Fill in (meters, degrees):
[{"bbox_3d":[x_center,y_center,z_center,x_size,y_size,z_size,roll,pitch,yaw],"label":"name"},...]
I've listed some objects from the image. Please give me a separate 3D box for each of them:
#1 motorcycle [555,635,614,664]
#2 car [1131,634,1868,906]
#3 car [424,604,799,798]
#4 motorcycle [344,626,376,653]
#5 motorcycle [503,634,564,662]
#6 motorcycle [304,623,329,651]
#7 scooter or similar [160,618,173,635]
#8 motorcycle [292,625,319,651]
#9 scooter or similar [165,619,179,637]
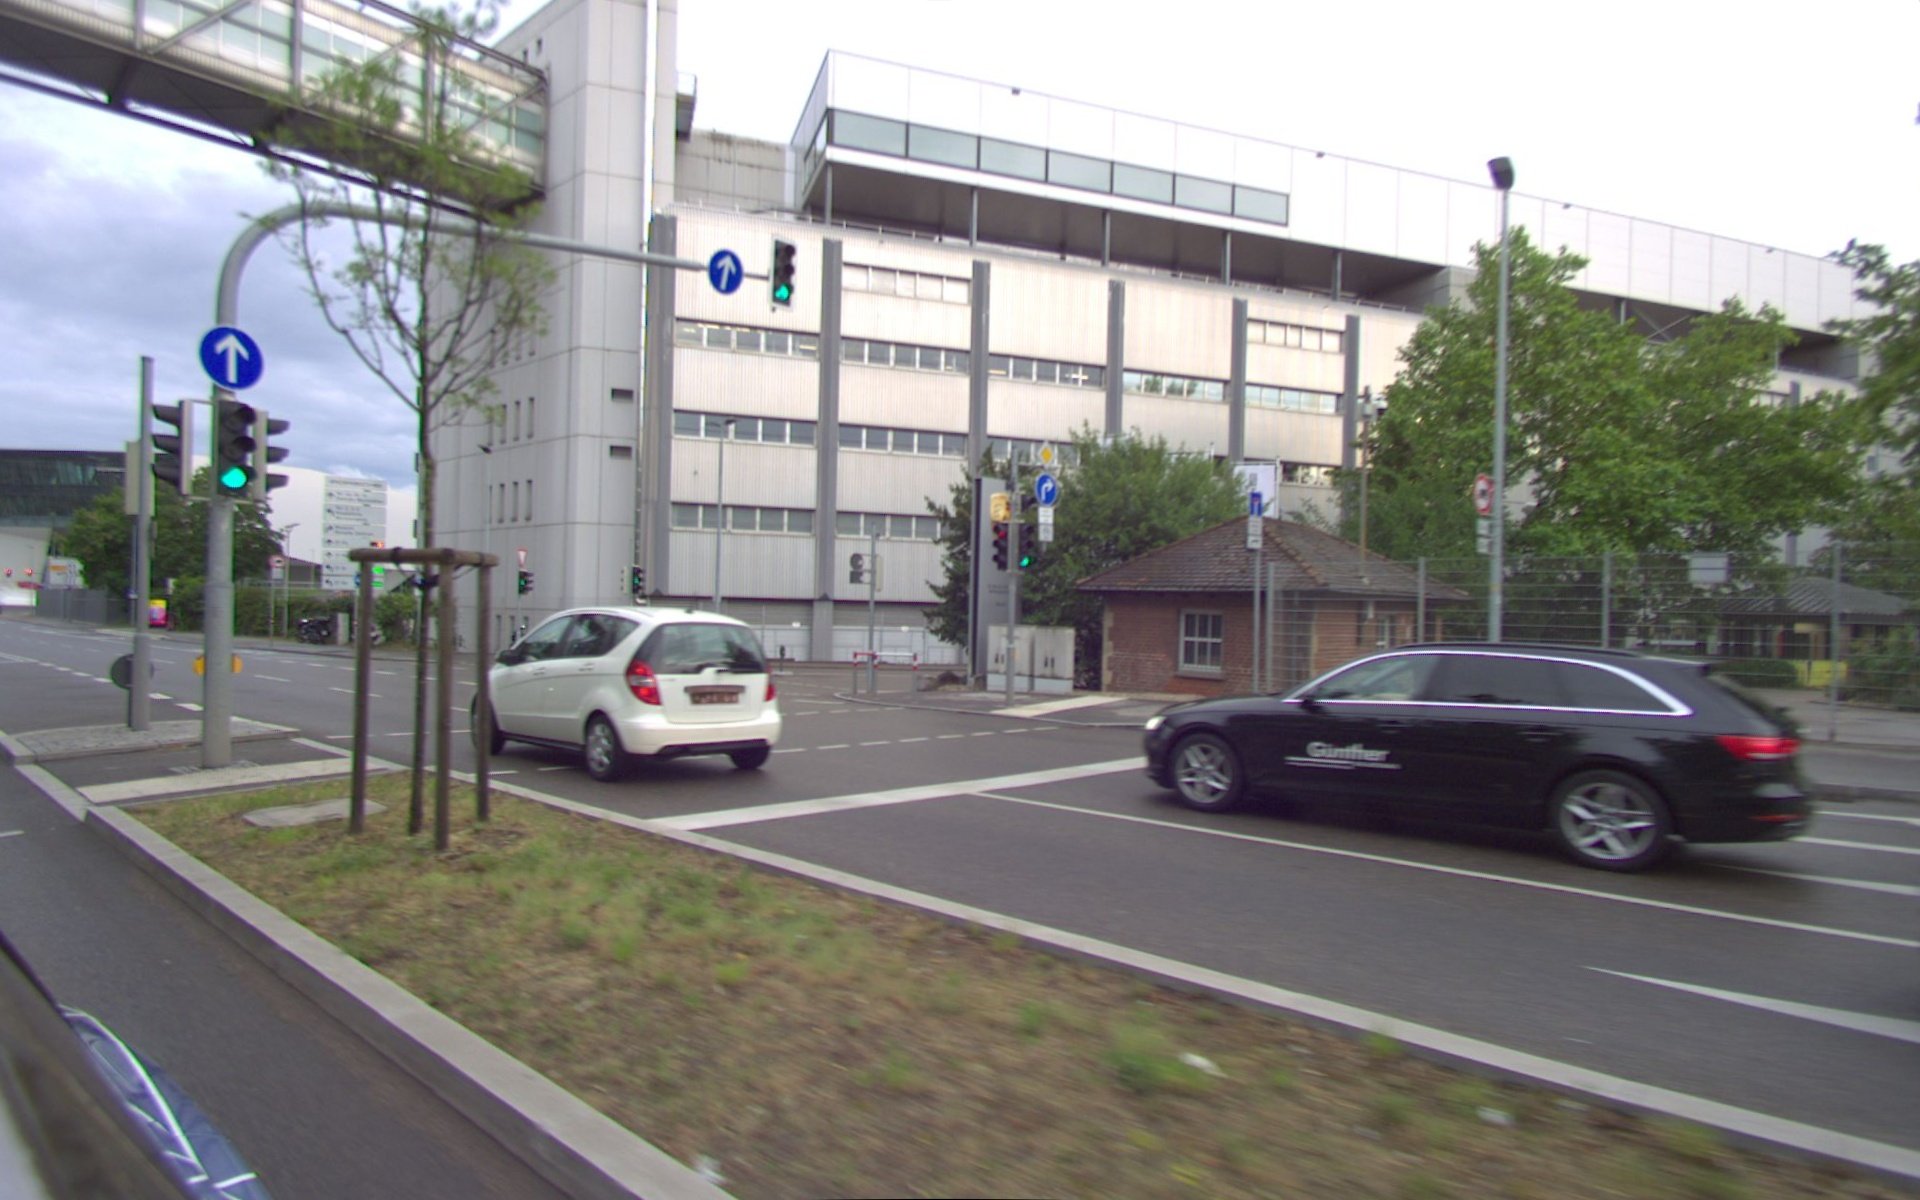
[{"bbox_3d":[-14.564,1.910,39.242,2.150,1.035,0.624,1,-2,15],"label":"motorcycle"},{"bbox_3d":[3.747,1.001,7.671,4.613,1.414,1.754,-1,-3,42],"label":"car"},{"bbox_3d":[-3.793,0.882,10.564,4.485,1.602,1.752,-1,-3,43],"label":"car"},{"bbox_3d":[-26.701,1.740,45.007,2.037,1.171,0.561,0,-3,40],"label":"motorcycle"},{"bbox_3d":[-16.654,1.870,39.531,2.144,1.035,0.625,1,-2,7],"label":"motorcycle"},{"bbox_3d":[-30.816,1.774,48.460,0.617,1.277,2.173,0,-1,-43],"label":"motorcycle"},{"bbox_3d":[-53.158,1.786,67.764,1.568,1.138,0.389,-1,-3,42],"label":"scooter or similar"},{"bbox_3d":[-32.614,1.890,50.430,1.967,1.224,0.618,-1,-3,42],"label":"motorcycle"},{"bbox_3d":[-51.930,1.840,66.699,1.568,1.138,0.389,-1,-3,42],"label":"scooter or similar"}]
